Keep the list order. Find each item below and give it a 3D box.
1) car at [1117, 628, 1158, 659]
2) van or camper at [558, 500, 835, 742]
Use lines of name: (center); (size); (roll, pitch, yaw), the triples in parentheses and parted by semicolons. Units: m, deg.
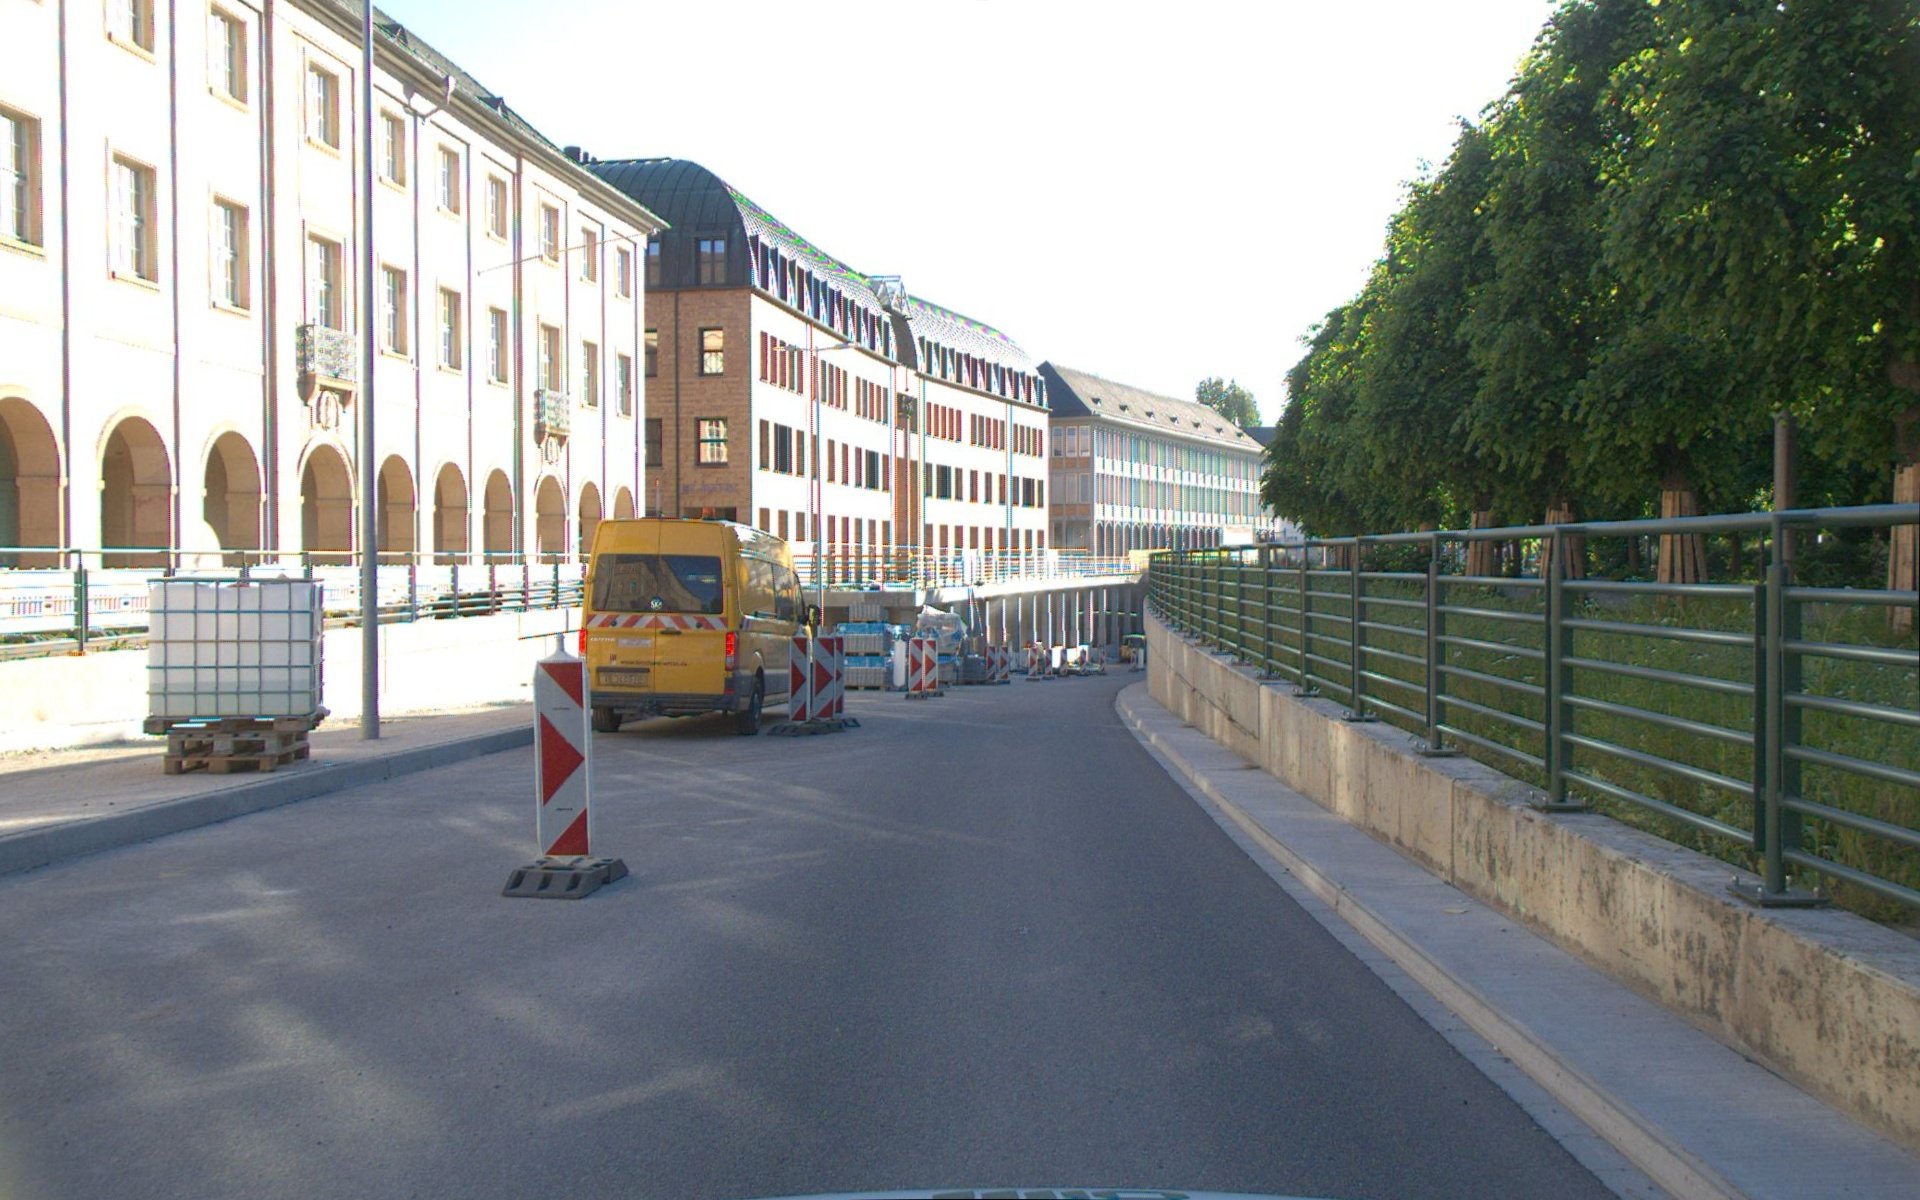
car: (11.529, 2.773, 107.281); (1.809, 1.806, 4.437); (1, 1, 17)
van or camper: (-3.249, 0.302, 22.170); (2.148, 2.658, 6.827); (2, -1, 3)
